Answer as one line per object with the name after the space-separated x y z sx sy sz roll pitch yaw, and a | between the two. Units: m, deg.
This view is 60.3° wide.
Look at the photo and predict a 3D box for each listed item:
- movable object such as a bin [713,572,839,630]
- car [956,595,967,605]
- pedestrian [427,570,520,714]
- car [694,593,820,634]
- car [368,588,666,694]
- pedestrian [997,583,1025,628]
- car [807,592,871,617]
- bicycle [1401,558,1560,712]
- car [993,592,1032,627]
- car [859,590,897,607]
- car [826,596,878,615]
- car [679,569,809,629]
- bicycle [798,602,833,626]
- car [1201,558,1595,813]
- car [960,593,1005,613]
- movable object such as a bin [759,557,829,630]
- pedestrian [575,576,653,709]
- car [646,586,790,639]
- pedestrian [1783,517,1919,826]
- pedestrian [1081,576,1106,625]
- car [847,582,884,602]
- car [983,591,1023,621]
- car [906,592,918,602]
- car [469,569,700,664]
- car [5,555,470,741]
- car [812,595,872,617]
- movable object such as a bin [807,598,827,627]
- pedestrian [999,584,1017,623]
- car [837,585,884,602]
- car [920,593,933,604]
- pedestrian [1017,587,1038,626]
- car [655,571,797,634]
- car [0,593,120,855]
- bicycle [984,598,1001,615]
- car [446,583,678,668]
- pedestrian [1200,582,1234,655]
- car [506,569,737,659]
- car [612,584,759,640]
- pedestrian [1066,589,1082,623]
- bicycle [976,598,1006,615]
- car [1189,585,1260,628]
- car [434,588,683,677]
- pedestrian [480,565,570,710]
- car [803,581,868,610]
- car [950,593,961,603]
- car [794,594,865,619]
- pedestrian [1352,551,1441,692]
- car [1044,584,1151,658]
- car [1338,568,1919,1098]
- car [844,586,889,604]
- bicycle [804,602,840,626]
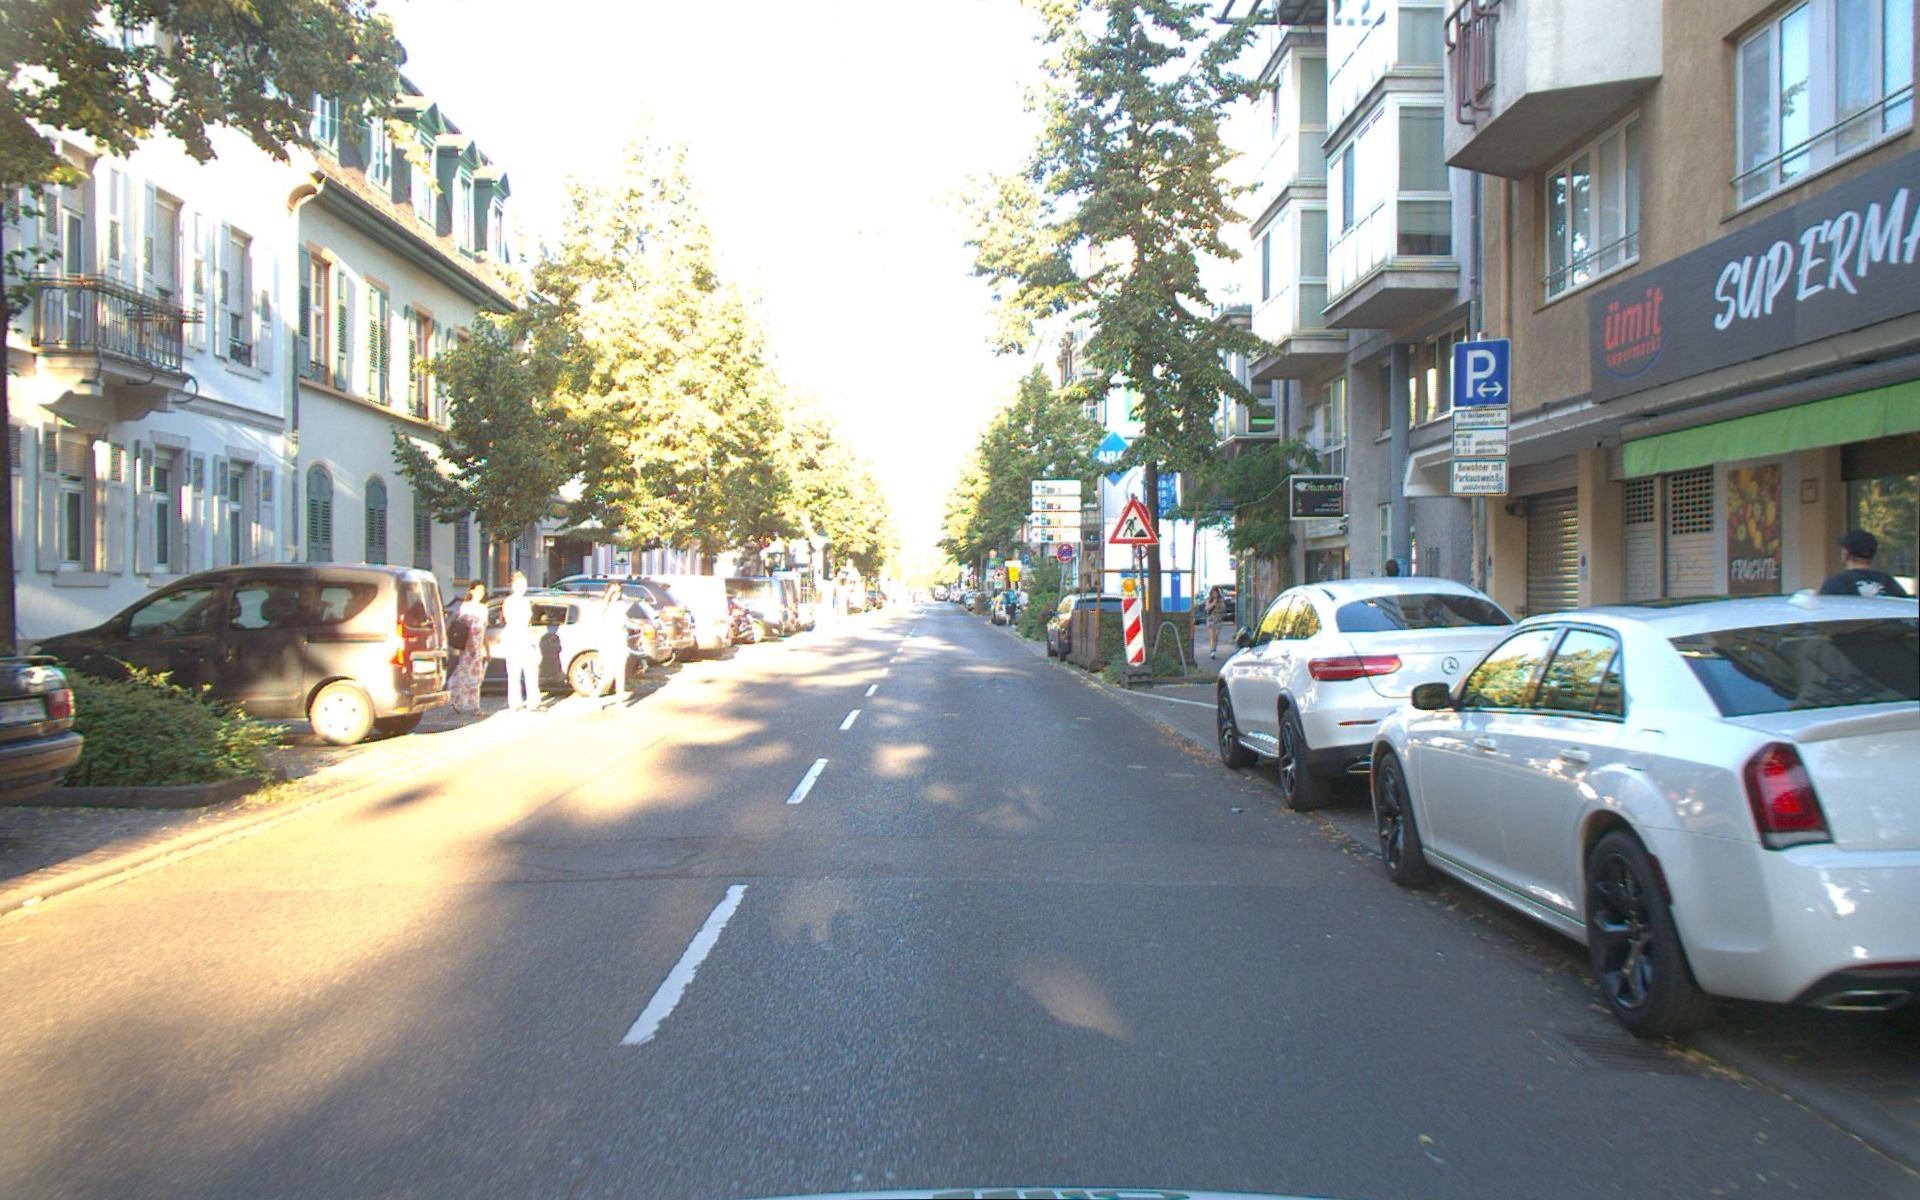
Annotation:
-8.358 0.041 75.622 2.273 2.539 5.720 0 0 42 | movable object such as a bin
0.177 0.037 215.743 1.482 1.298 3.303 0 0 0 | car
-5.970 0.500 20.339 0.902 1.725 0.762 -1 0 0 | pedestrian
-7.691 0.494 63.060 4.499 1.495 1.893 1 0 2 | car
-6.467 0.575 24.471 3.978 1.487 1.684 0 0 -4 | car
2.175 0.221 70.526 0.995 1.857 0.778 -3 0 -11 | pedestrian
-8.759 0.348 120.208 4.478 1.727 2.060 1 0 0 | car
4.722 0.297 15.165 0.759 1.284 2.050 -2 0 0 | bicycle
2.518 0.438 79.784 1.652 1.602 4.012 -3 0 -1 | car
-9.591 -0.182 193.154 4.351 1.994 1.919 0 0 0 | car
-9.251 0.473 141.771 4.351 1.595 1.919 1 0 0 | car
-7.601 -0.041 58.611 4.394 2.010 1.964 1 0 -3 | car
-7.071 0.690 81.017 1.649 1.097 0.444 3 -1 -2 | bicycle
3.246 0.557 13.309 1.841 1.601 4.691 -3 0 0 | car
1.872 0.223 136.085 1.645 1.616 3.801 1 0 41 | car
-7.078 -0.258 71.208 2.571 3.021 5.302 0 0 -1 | movable object such as a bin
-4.446 0.534 21.298 0.810 1.667 0.827 -1 0 0 | pedestrian
-7.350 0.371 50.485 4.242 1.527 1.840 1 0 -6 | car
5.406 0.395 9.696 0.772 1.734 0.700 -1 0 -1 | pedestrian
5.221 0.023 64.734 0.806 1.886 1.097 -2 0 -2 | pedestrian
-11.594 -0.977 203.087 4.351 2.477 1.919 0 0 0 | car
2.167 0.300 84.102 1.749 1.399 4.522 -3 0 -1 | car
-7.401 -0.438 256.302 1.716 1.567 3.303 0 0 0 | car
-7.689 0.319 34.180 4.338 1.903 1.894 0 0 -1 | car
-7.428 0.470 17.296 4.053 1.838 1.807 0 0 1 | car
-8.930 0.453 125.201 4.351 1.533 1.844 1 0 0 | car
-5.634 0.498 65.120 0.675 1.124 0.883 -1 0 1 | movable object such as a bin
2.220 0.161 76.562 0.665 1.785 0.823 -1 0 -11 | pedestrian
-9.564 -0.590 159.170 4.351 1.549 1.919 1 0 0 | car
-4.815 -0.262 236.332 1.716 1.567 3.303 0 0 0 | car
3.107 0.296 76.307 0.657 1.730 0.648 -2 0 45 | pedestrian
-7.679 0.076 54.627 4.392 2.010 2.068 0 0 0 | car
-7.410 0.687 9.768 4.067 1.465 1.593 0 0 0 | car
2.229 0.445 112.907 0.585 1.198 1.847 0 0 18 | bicycle
-7.584 0.475 31.806 3.954 1.582 1.965 0 0 1 | car
5.563 0.392 35.820 0.598 1.552 0.773 -1 0 -1 | pedestrian
-7.538 0.302 37.176 4.771 1.941 1.973 0 0 -1 | car
-7.824 0.334 47.437 3.841 1.527 1.905 1 0 1 | car
5.306 0.277 77.182 0.645 1.589 0.701 -2 0 -1 | pedestrian
2.107 0.426 111.444 1.918 1.092 0.704 0 0 31 | bicycle
9.627 0.265 60.581 1.699 1.456 4.907 -1 -1 -1 | car
-7.044 0.553 29.351 3.955 1.509 1.962 0 0 -1 | car
-5.536 0.468 21.099 0.902 1.790 0.762 -1 0 0 | pedestrian
-8.838 -0.315 117.500 4.479 1.996 1.990 1 0 -1 | car
-0.739 -0.350 256.515 1.716 1.567 3.303 0 0 0 | car
-8.430 0.401 107.227 4.455 1.568 1.810 1 0 -2 | car
5.826 0.274 22.110 0.839 1.826 0.996 -1 0 -4 | pedestrian
3.063 0.440 37.763 1.792 1.514 4.847 -2 0 -3 | car
3.267 0.654 7.463 1.804 1.506 5.189 -3 0 -1 | car
-9.338 -0.497 165.675 4.351 1.790 1.919 1 0 0 | car
-6.863 0.713 82.192 1.647 1.097 0.445 2 -1 7 | bicycle
